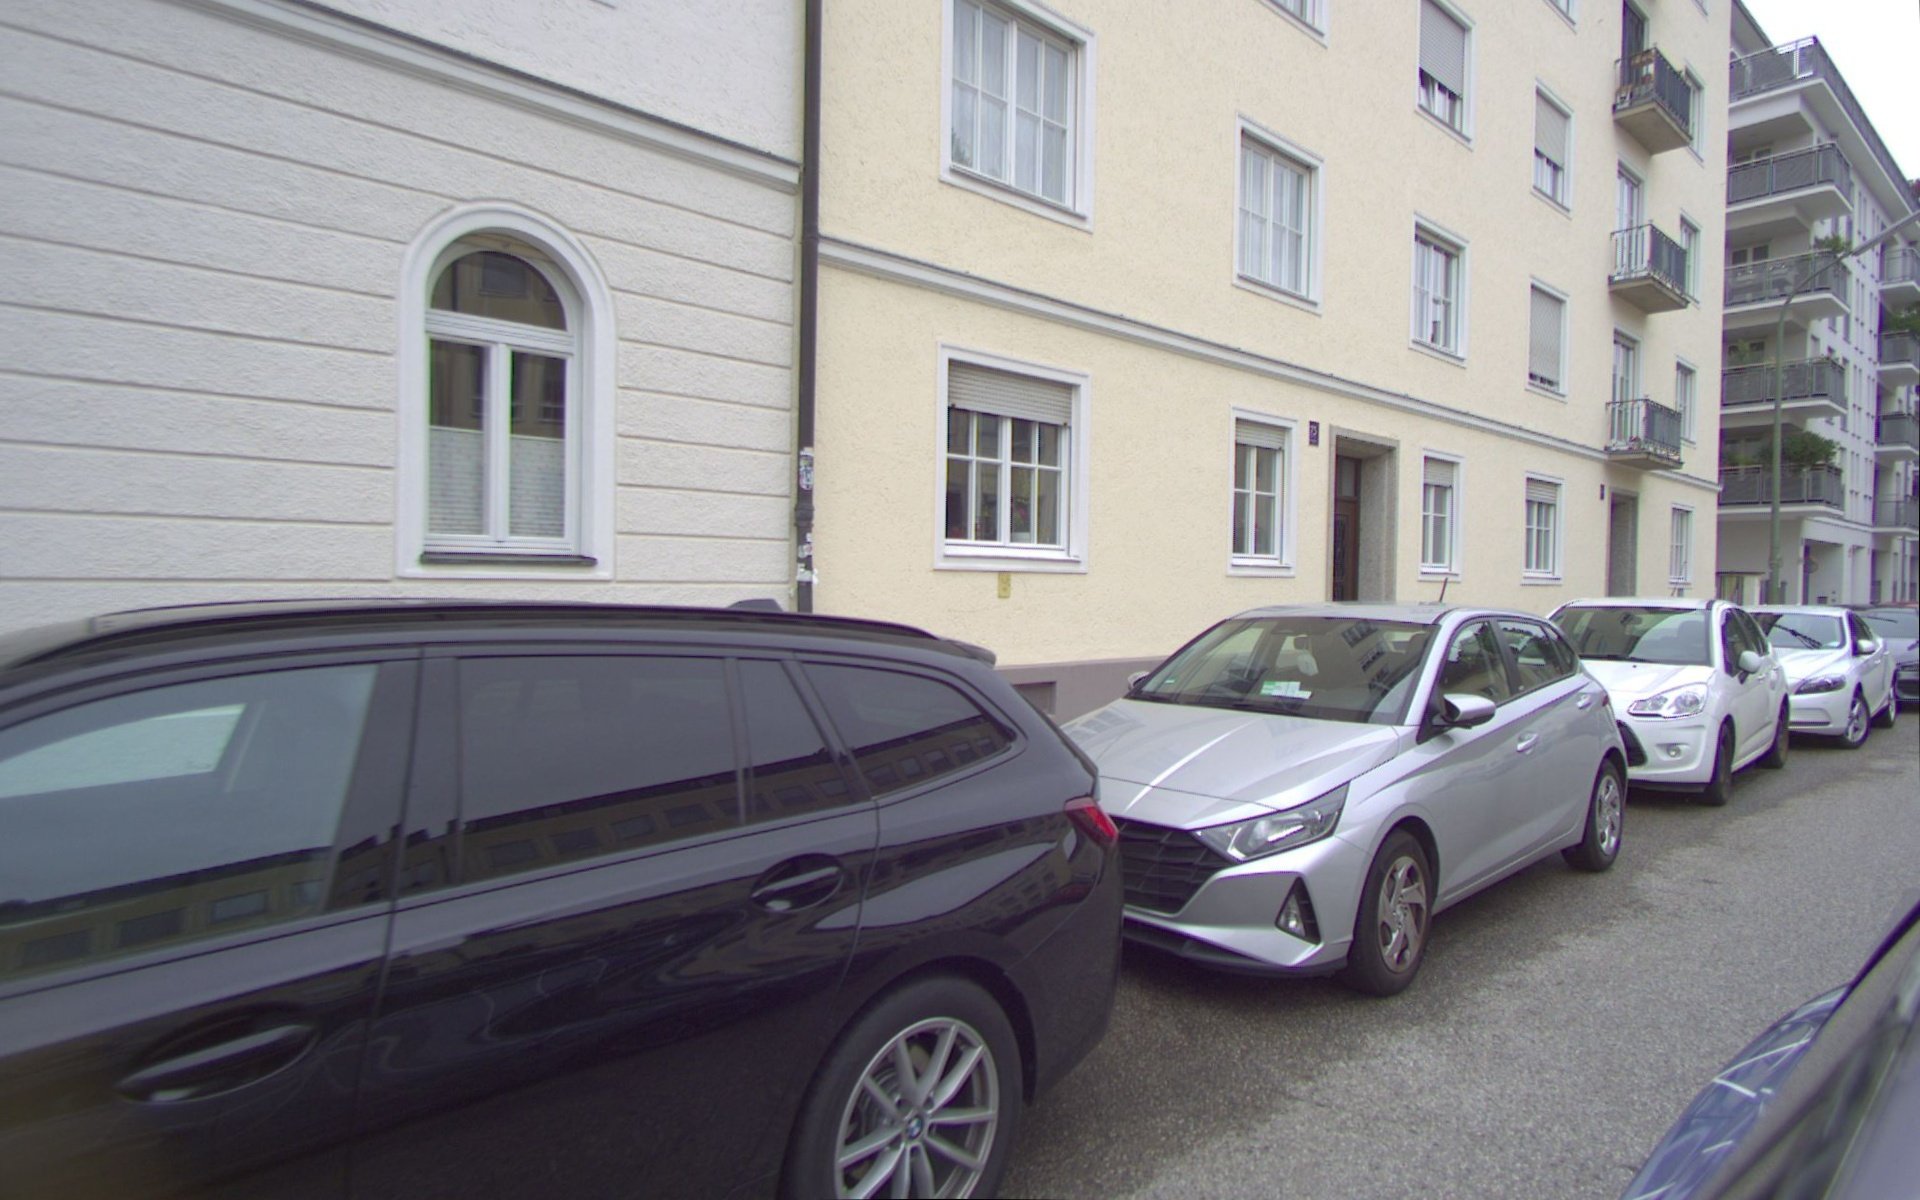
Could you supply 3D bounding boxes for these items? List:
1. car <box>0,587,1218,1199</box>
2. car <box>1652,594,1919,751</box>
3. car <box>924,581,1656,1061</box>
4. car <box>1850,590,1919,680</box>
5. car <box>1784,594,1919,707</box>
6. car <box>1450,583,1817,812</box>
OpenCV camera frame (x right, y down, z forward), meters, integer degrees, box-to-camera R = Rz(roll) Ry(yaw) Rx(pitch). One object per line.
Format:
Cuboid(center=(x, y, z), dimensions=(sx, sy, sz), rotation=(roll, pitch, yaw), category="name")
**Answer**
Cuboid(center=(-1.438, 0.707, 2.011), dimensions=(4.316, 1.445, 1.681), rotation=(0, 1, -42), category="car")
Cuboid(center=(9.530, 0.665, 11.539), dimensions=(4.366, 1.427, 1.682), rotation=(0, 1, -41), category="car")
Cuboid(center=(1.922, 0.644, 5.072), dimensions=(4.096, 1.445, 1.681), rotation=(0, 1, -42), category="car")
Cuboid(center=(17.748, 0.585, 18.544), dimensions=(3.757, 1.516, 1.682), rotation=(0, 1, -41), category="car")
Cuboid(center=(13.745, 0.645, 14.999), dimensions=(4.345, 1.427, 1.682), rotation=(0, 1, -41), category="car")
Cuboid(center=(5.937, 0.622, 8.718), dimensions=(4.096, 1.500, 1.681), rotation=(0, 1, -42), category="car")
